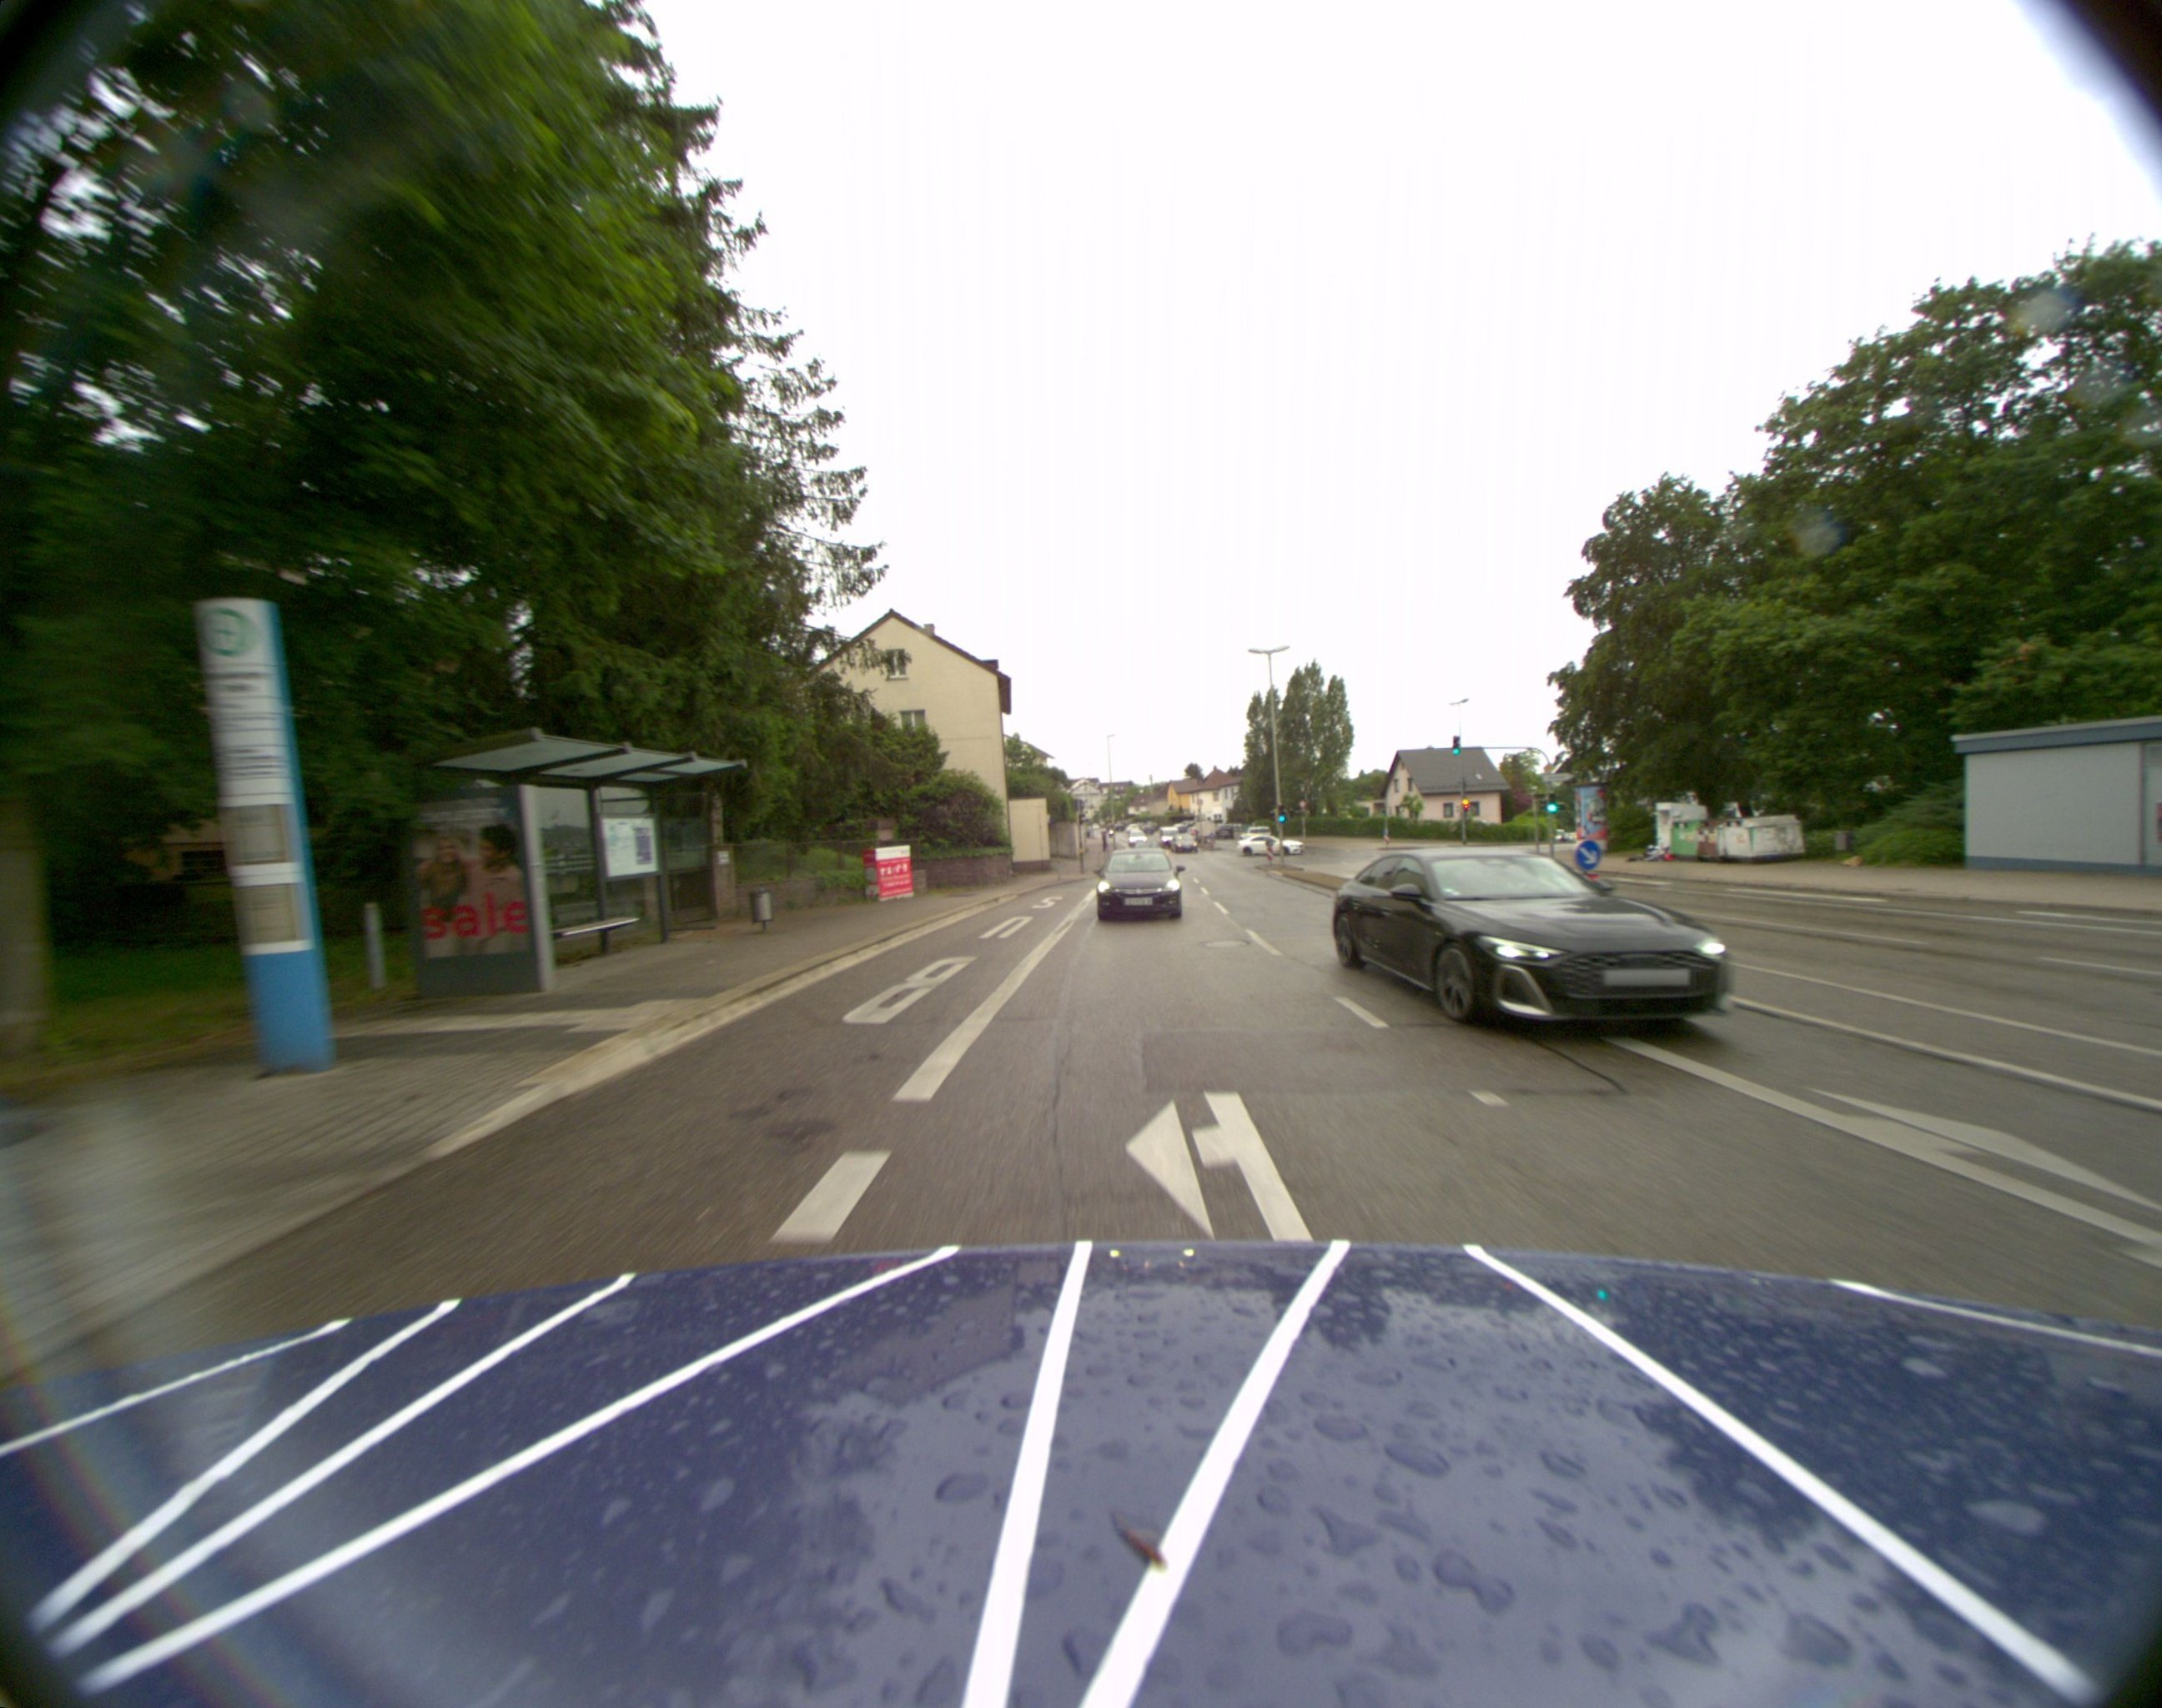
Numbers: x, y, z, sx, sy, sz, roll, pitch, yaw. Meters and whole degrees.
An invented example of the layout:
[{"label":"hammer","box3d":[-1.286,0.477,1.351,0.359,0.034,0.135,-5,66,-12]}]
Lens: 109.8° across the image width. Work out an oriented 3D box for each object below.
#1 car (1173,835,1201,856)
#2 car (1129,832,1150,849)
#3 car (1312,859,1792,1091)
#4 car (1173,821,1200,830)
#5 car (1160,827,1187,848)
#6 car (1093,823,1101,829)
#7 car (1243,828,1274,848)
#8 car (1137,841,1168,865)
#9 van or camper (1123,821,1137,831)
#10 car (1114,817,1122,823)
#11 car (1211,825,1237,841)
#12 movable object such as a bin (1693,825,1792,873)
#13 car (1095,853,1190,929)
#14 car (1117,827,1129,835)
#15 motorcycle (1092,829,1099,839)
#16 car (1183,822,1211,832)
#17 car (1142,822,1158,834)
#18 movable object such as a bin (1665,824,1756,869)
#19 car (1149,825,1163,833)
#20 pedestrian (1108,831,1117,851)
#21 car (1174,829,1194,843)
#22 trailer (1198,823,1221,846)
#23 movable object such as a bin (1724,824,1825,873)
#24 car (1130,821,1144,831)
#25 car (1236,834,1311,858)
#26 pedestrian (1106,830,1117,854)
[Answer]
[{"label":"car","box3d":[8.584,-0.685,61.854,1.839,1.479,4.057,-2,3,3]},{"label":"car","box3d":[6.007,-1.364,78.340,1.840,1.472,4.001,-2,-1,1]},{"label":"car","box3d":[3.897,0.841,7.530,1.910,1.390,4.857,-2,1,3]},{"label":"car","box3d":[18.191,-4.861,130.915,4.113,1.476,1.838,1,2,-11]},{"label":"car","box3d":[8.620,-1.577,71.196,1.956,1.861,4.743,-1,3,0]},{"label":"car","box3d":[4.367,-7.390,203.435,1.838,1.522,3.997,-2,3,-3]},{"label":"car","box3d":[15.940,-1.472,68.585,1.828,1.648,4.464,-1,3,1]},{"label":"car","box3d":[4.496,-0.026,48.183,1.840,1.448,4.002,-2,-1,5]},{"label":"van or camper","box3d":[10.326,-5.932,161.109,2.190,2.003,5.129,-2,4,-5]},{"label":"car","box3d":[10.540,-9.598,216.060,1.999,1.566,3.996,-2,4,-3]},{"label":"car","box3d":[16.293,-2.417,86.766,1.810,1.660,4.594,-2,4,-3]},{"label":"movable object such as a bin","box3d":[22.970,-0.180,26.442,2.061,1.560,1.582,-1,1,8]},{"label":"car","box3d":[1.398,0.732,17.053,1.840,1.390,4.000,-1,1,5]},{"label":"car","box3d":[7.961,-4.417,144.595,1.858,1.456,3.996,-3,3,-4]},{"label":"motorcycle","box3d":[2.050,-2.829,108.782,0.694,1.317,2.477,-2,3,-5]},{"label":"car","box3d":[19.151,-4.449,125.307,4.110,1.412,1.883,-4,3,-3]},{"label":"car","box3d":[10.425,-3.959,115.068,1.999,1.566,3.997,-1,3,0]},{"label":"movable object such as a bin","box3d":[23.165,-0.284,28.027,2.061,1.560,1.582,-1,1,8]},{"label":"car","box3d":[13.235,-4.445,134.487,1.810,1.408,3.997,-2,3,-3]},{"label":"pedestrian","box3d":[2.767,-1.141,66.785,0.795,1.771,1.011,-1,4,3]},{"label":"car","box3d":[12.490,-2.194,92.054,1.846,1.543,4.382,-1,3,0]},{"label":"trailer","box3d":[13.159,-2.030,77.988,1.900,2.167,4.035,-2,2,3]},{"label":"movable object such as a bin","box3d":[22.767,-0.188,25.002,2.061,1.506,1.344,-1,1,8]},{"label":"car","box3d":[9.488,-4.702,128.764,1.841,1.548,4.766,-2,3,-1]},{"label":"car","box3d":[13.398,-0.560,52.914,4.638,1.520,1.917,0,4,38]},{"label":"pedestrian","box3d":[2.636,-1.074,65.415,0.799,2.003,0.734,-2,4,3]}]
